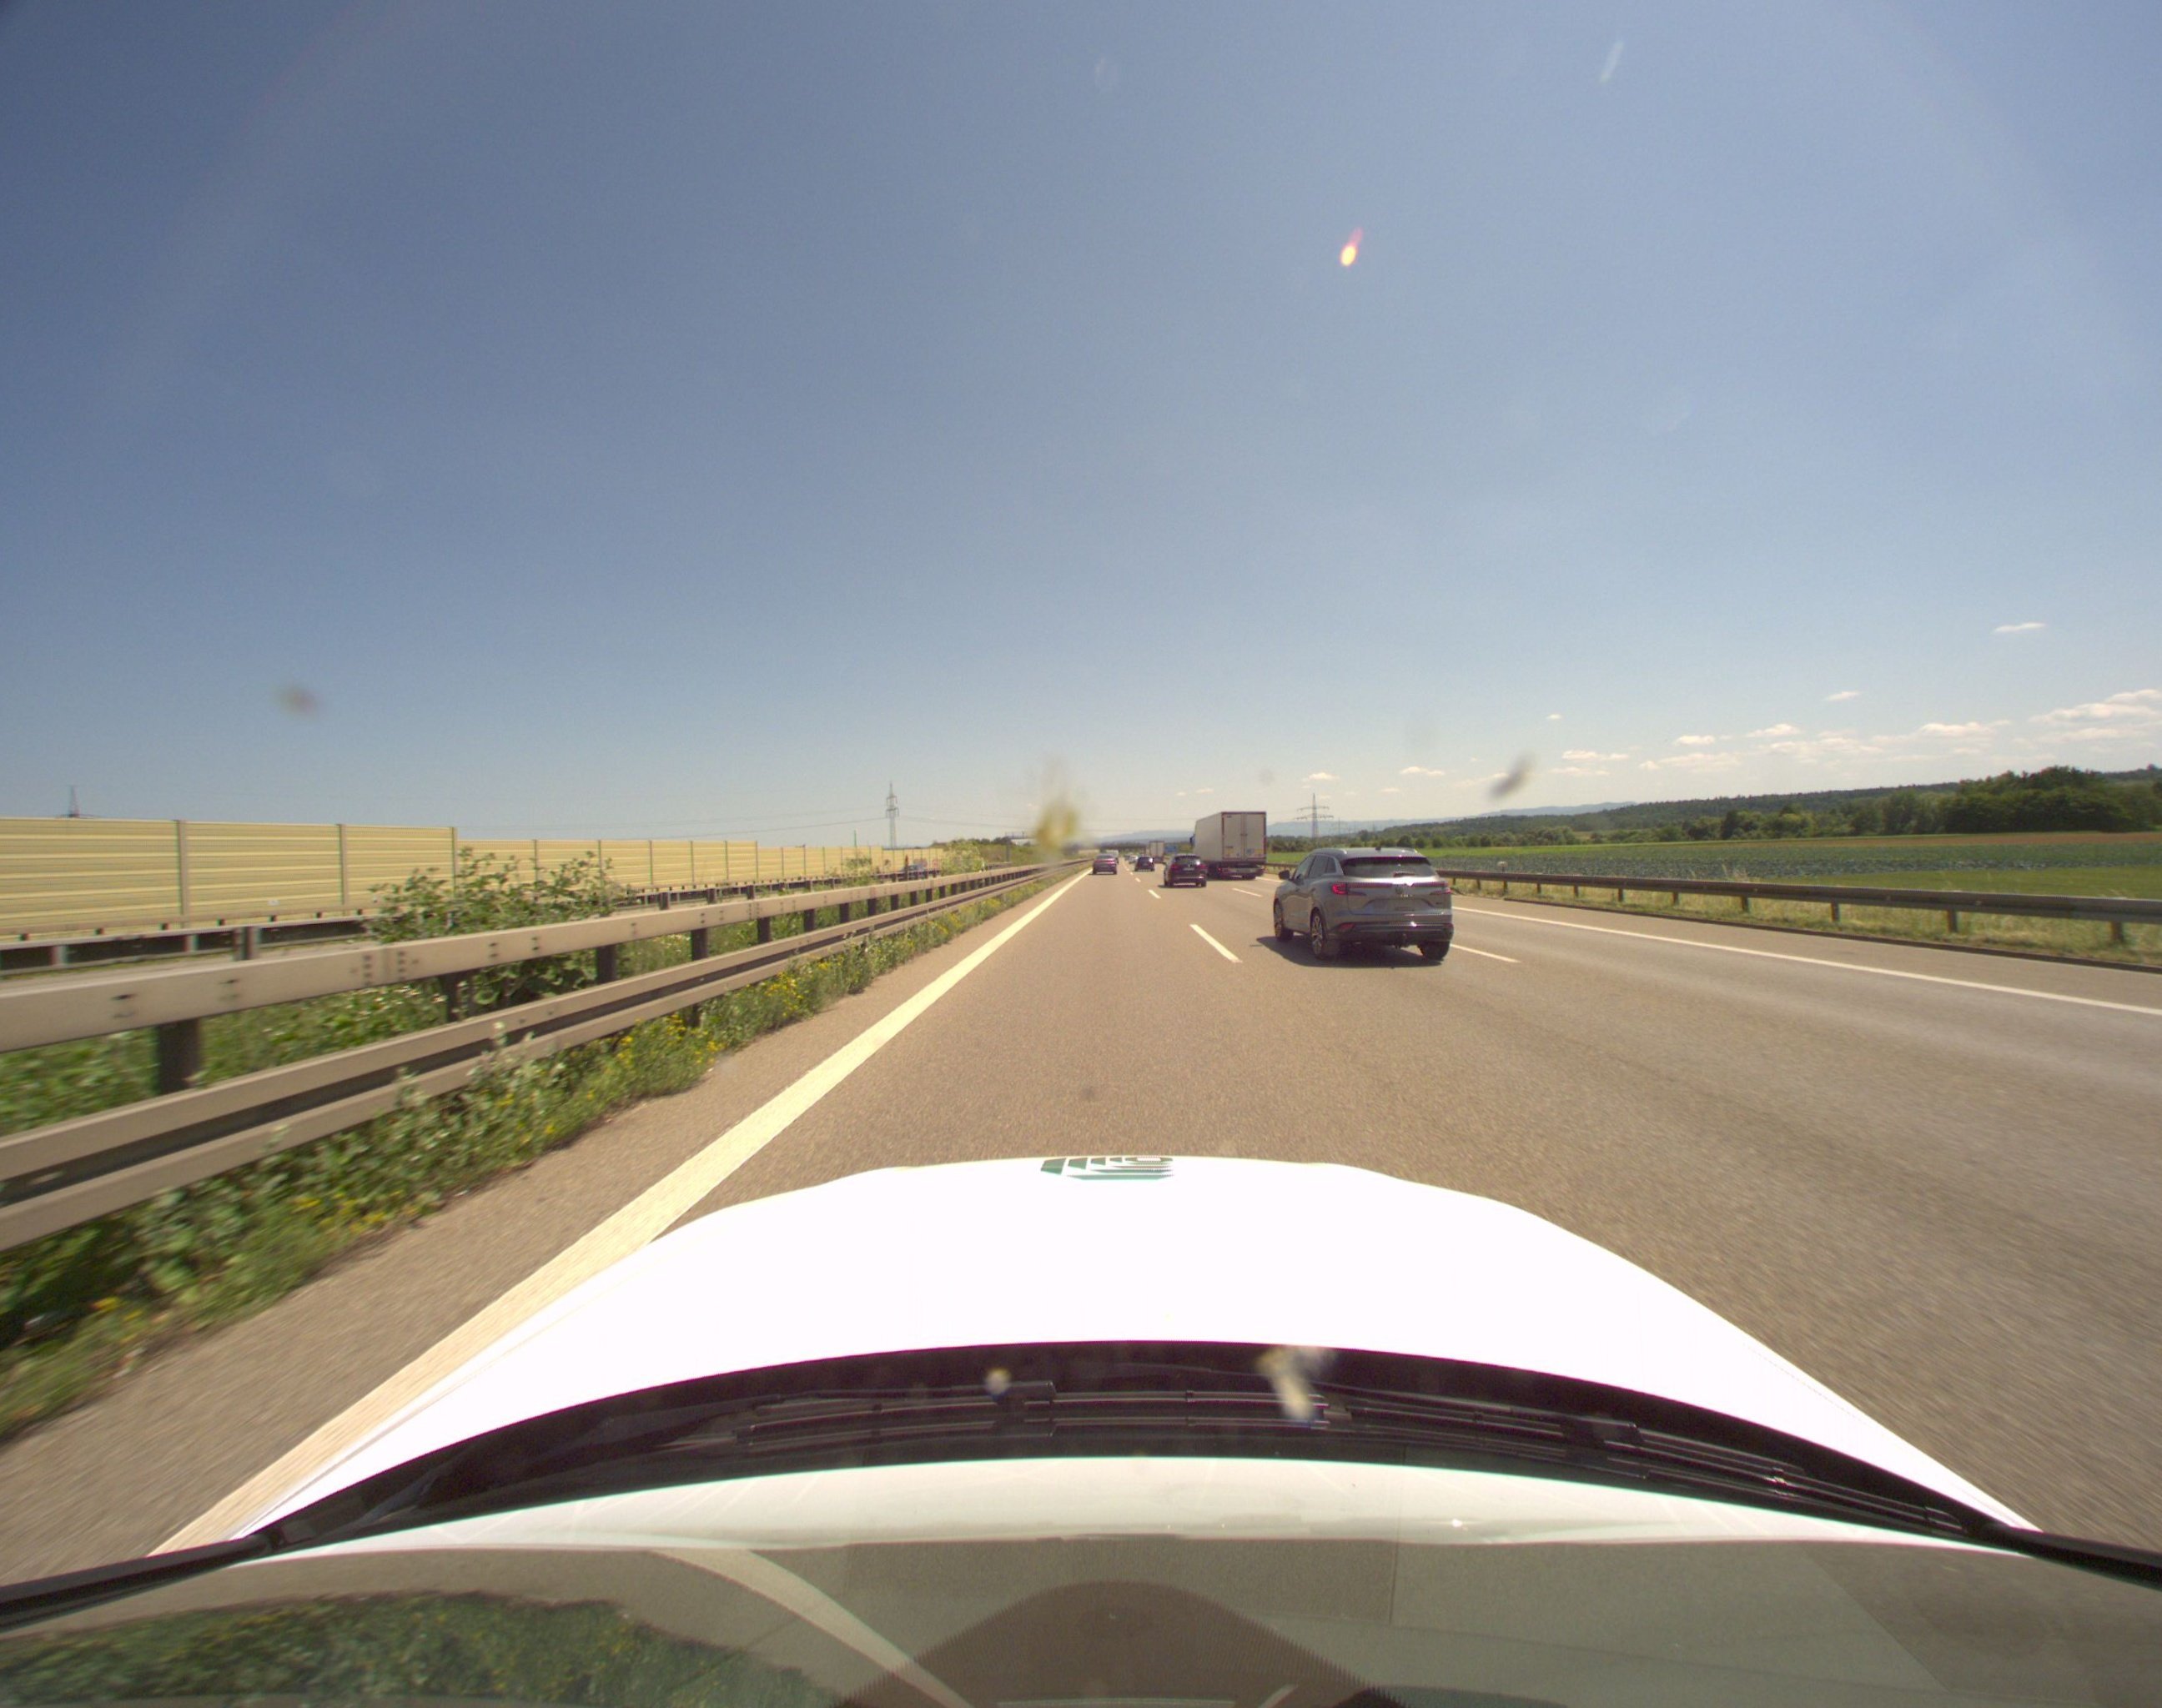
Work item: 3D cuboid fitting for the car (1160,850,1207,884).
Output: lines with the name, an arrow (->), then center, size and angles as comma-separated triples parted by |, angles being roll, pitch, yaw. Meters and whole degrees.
car -> 4.872, 0.613, 39.309 | 1.791, 1.562, 3.823 | 0, 0, 0

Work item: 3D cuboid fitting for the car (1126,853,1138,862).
car -> 8.828, 0.606, 140.325 | 1.985, 1.683, 4.003 | 0, 0, 3

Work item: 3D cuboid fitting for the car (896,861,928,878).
car -> -14.954, 1.362, 72.234 | 1.712, 1.409, 4.486 | 0, 0, 2

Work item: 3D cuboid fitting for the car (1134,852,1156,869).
car -> 6.077, 0.646, 77.958 | 1.925, 1.574, 4.937 | 0, 0, 2

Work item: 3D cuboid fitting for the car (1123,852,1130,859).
car -> 12.500, 0.435, 225.142 | 1.985, 1.683, 4.003 | 0, 0, 3

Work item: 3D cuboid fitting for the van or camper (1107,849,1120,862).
van or camper -> 5.530, 0.254, 139.730 | 2.102, 2.211, 5.269 | 0, 0, 3

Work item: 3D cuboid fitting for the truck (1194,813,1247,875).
truck -> 9.812, -0.656, 57.919 | 2.852, 4.091, 6.882 | 0, 0, 2

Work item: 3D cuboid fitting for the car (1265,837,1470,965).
car -> 4.275, 0.612, 12.995 | 1.843, 1.648, 4.648 | -1, 0, 3

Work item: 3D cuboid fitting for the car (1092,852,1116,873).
car -> 1.885, 0.676, 66.483 | 1.845, 1.664, 3.734 | 0, 0, 0

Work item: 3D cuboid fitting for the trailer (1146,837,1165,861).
trailer -> 13.477, -0.820, 148.825 | 2.931, 4.198, 13.607 | 0, 0, 3

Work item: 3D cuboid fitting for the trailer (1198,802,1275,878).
trailer -> 9.580, -0.731, 51.830 | 2.856, 4.220, 13.302 | 0, 0, 2

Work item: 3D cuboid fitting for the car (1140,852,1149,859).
car -> 14.714, 0.432, 189.424 | 1.985, 1.683, 4.003 | 0, 0, 3
